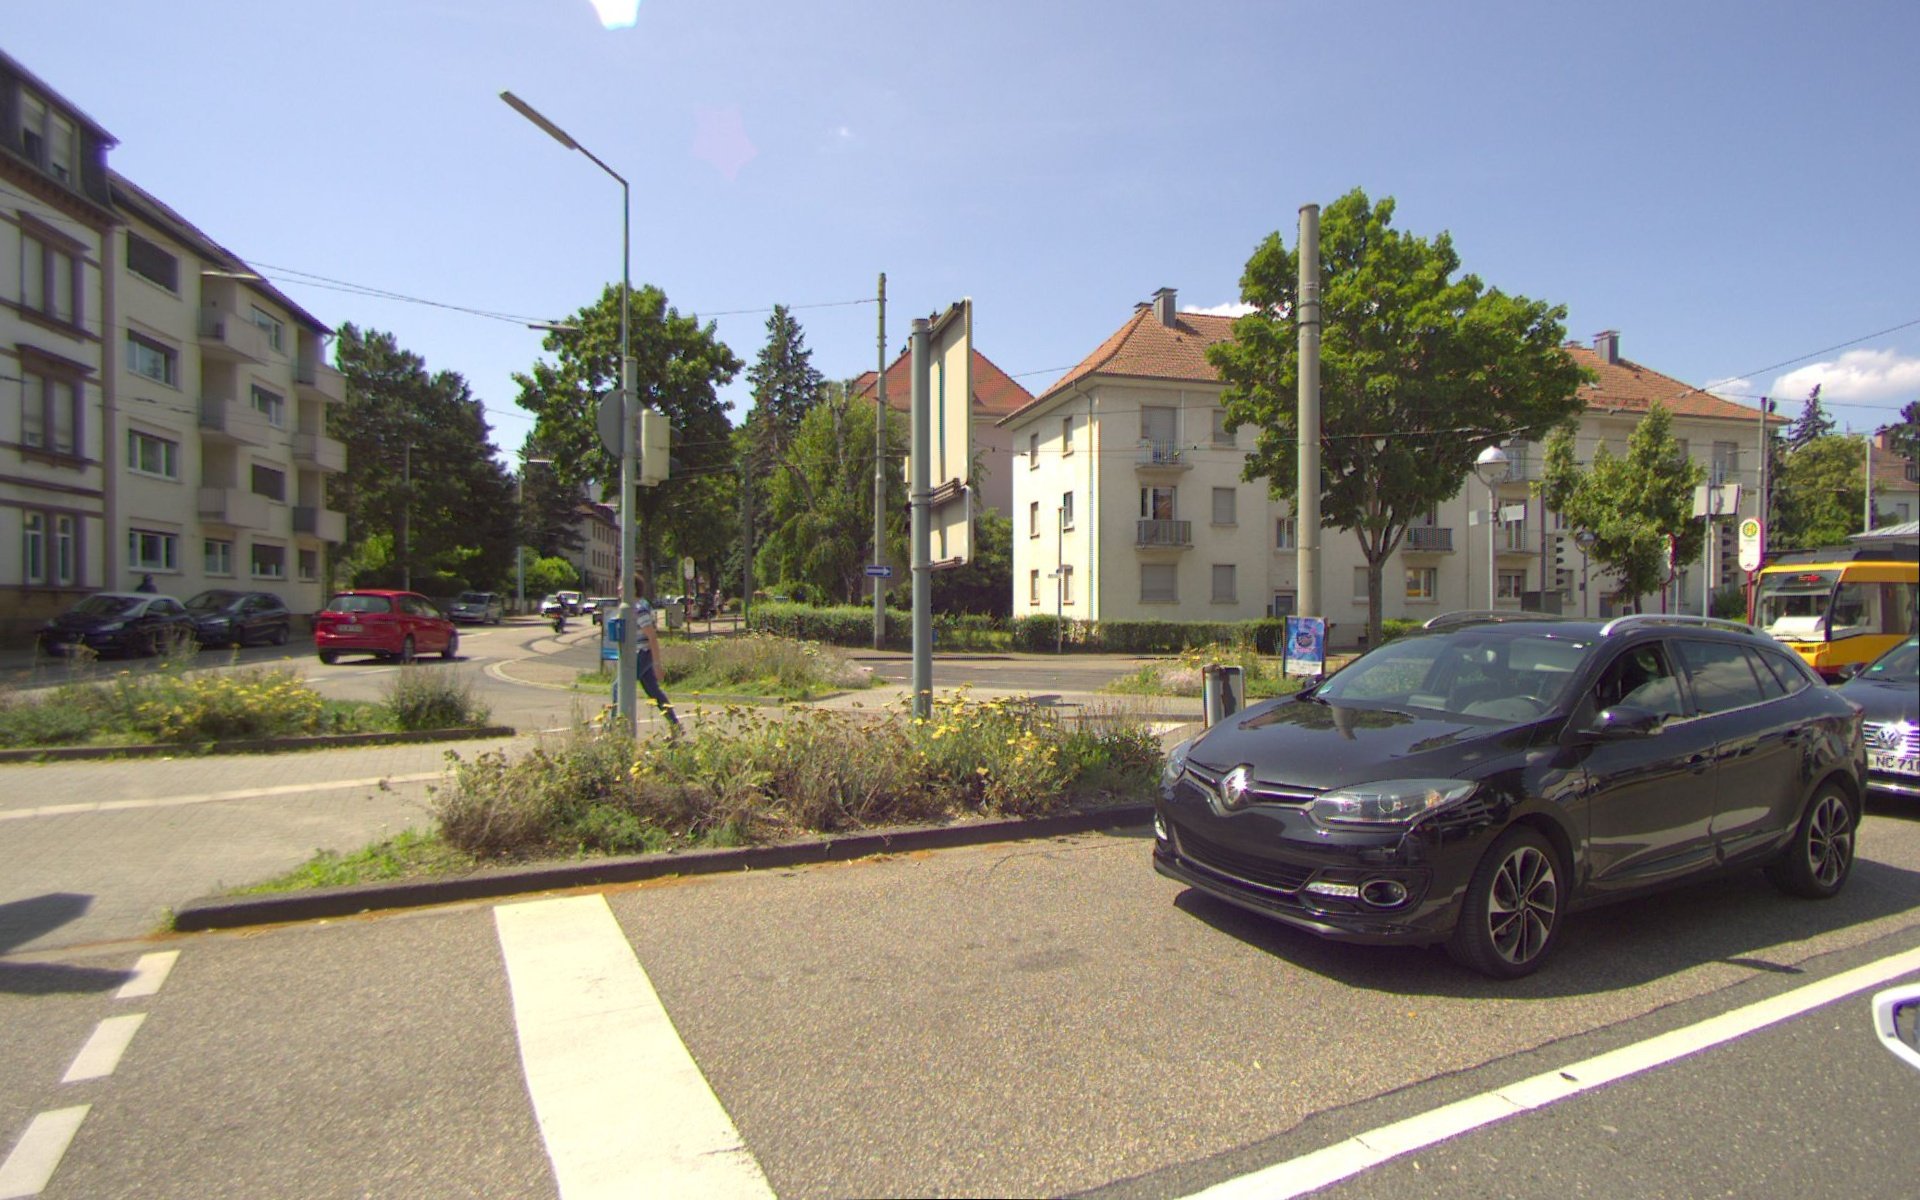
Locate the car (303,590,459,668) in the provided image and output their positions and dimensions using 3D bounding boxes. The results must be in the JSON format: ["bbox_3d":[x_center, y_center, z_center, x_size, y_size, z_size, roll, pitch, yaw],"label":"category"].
[{"bbox_3d":[-12.990,0.617,22.839,1.772,1.578,4.030,1,0,-10],"label":"car"}]

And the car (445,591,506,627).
[{"bbox_3d":[-25.747,0.486,53.491,1.772,1.740,4.030,4,-1,-9],"label":"car"}]

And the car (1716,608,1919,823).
[{"bbox_3d":[8.774,0.868,8.530,4.452,1.539,1.987,1,0,-26],"label":"car"}]

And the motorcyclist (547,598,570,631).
[{"bbox_3d":[-17.828,0.631,44.609,0.700,1.465,1.018,1,0,-7],"label":"motorcyclist"}]

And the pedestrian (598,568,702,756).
[{"bbox_3d":[-3.018,0.574,9.752,0.827,1.727,0.757,1,0,-28],"label":"pedestrian"}]

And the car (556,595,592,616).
[{"bbox_3d":[-31.562,0.435,82.219,1.772,1.578,4.032,4,-1,-7],"label":"car"}]

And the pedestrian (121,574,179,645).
[{"bbox_3d":[-22.838,0.260,28.347,0.922,1.957,0.974,1,0,-13],"label":"pedestrian"}]

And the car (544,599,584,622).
[{"bbox_3d":[-29.885,0.792,75.927,1.772,1.578,4.032,4,-1,-7],"label":"car"}]

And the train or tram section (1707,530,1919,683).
[{"bbox_3d":[26.813,0.241,27.063,13.946,3.616,2.809,1,0,-16],"label":"train or tram section"}]

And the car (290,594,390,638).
[{"bbox_3d":[-22.926,0.586,37.322,1.966,1.530,3.989,1,0,-13],"label":"car"}]

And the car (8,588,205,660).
[{"bbox_3d":[-20.195,0.557,24.016,1.966,1.539,3.989,2,-1,-14],"label":"car"}]

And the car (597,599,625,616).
[{"bbox_3d":[-34.688,0.739,99.940,1.772,1.578,4.032,4,-1,-7],"label":"car"}]

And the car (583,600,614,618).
[{"bbox_3d":[-33.663,0.850,93.643,1.772,1.578,4.032,4,-1,-7],"label":"car"}]

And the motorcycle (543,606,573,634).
[{"bbox_3d":[-17.833,0.873,44.615,0.700,1.149,2.194,1,0,-7],"label":"motorcycle"}]

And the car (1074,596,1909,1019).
[{"bbox_3d":[2.997,0.775,5.533,4.370,1.520,1.985,1,0,-28],"label":"car"}]

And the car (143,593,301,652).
[{"bbox_3d":[-20.864,0.616,28.652,1.965,1.530,4.372,1,0,-12],"label":"car"}]

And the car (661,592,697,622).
[{"bbox_3d":[-18.014,0.414,64.510,1.966,1.832,3.989,1,0,-13],"label":"car"}]

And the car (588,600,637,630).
[{"bbox_3d":[-19.349,0.819,56.054,1.771,1.578,4.032,1,0,-7],"label":"car"}]

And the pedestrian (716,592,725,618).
[{"bbox_3d":[-15.686,0.317,65.889,0.501,1.678,0.465,1,0,-8],"label":"pedestrian"}]
